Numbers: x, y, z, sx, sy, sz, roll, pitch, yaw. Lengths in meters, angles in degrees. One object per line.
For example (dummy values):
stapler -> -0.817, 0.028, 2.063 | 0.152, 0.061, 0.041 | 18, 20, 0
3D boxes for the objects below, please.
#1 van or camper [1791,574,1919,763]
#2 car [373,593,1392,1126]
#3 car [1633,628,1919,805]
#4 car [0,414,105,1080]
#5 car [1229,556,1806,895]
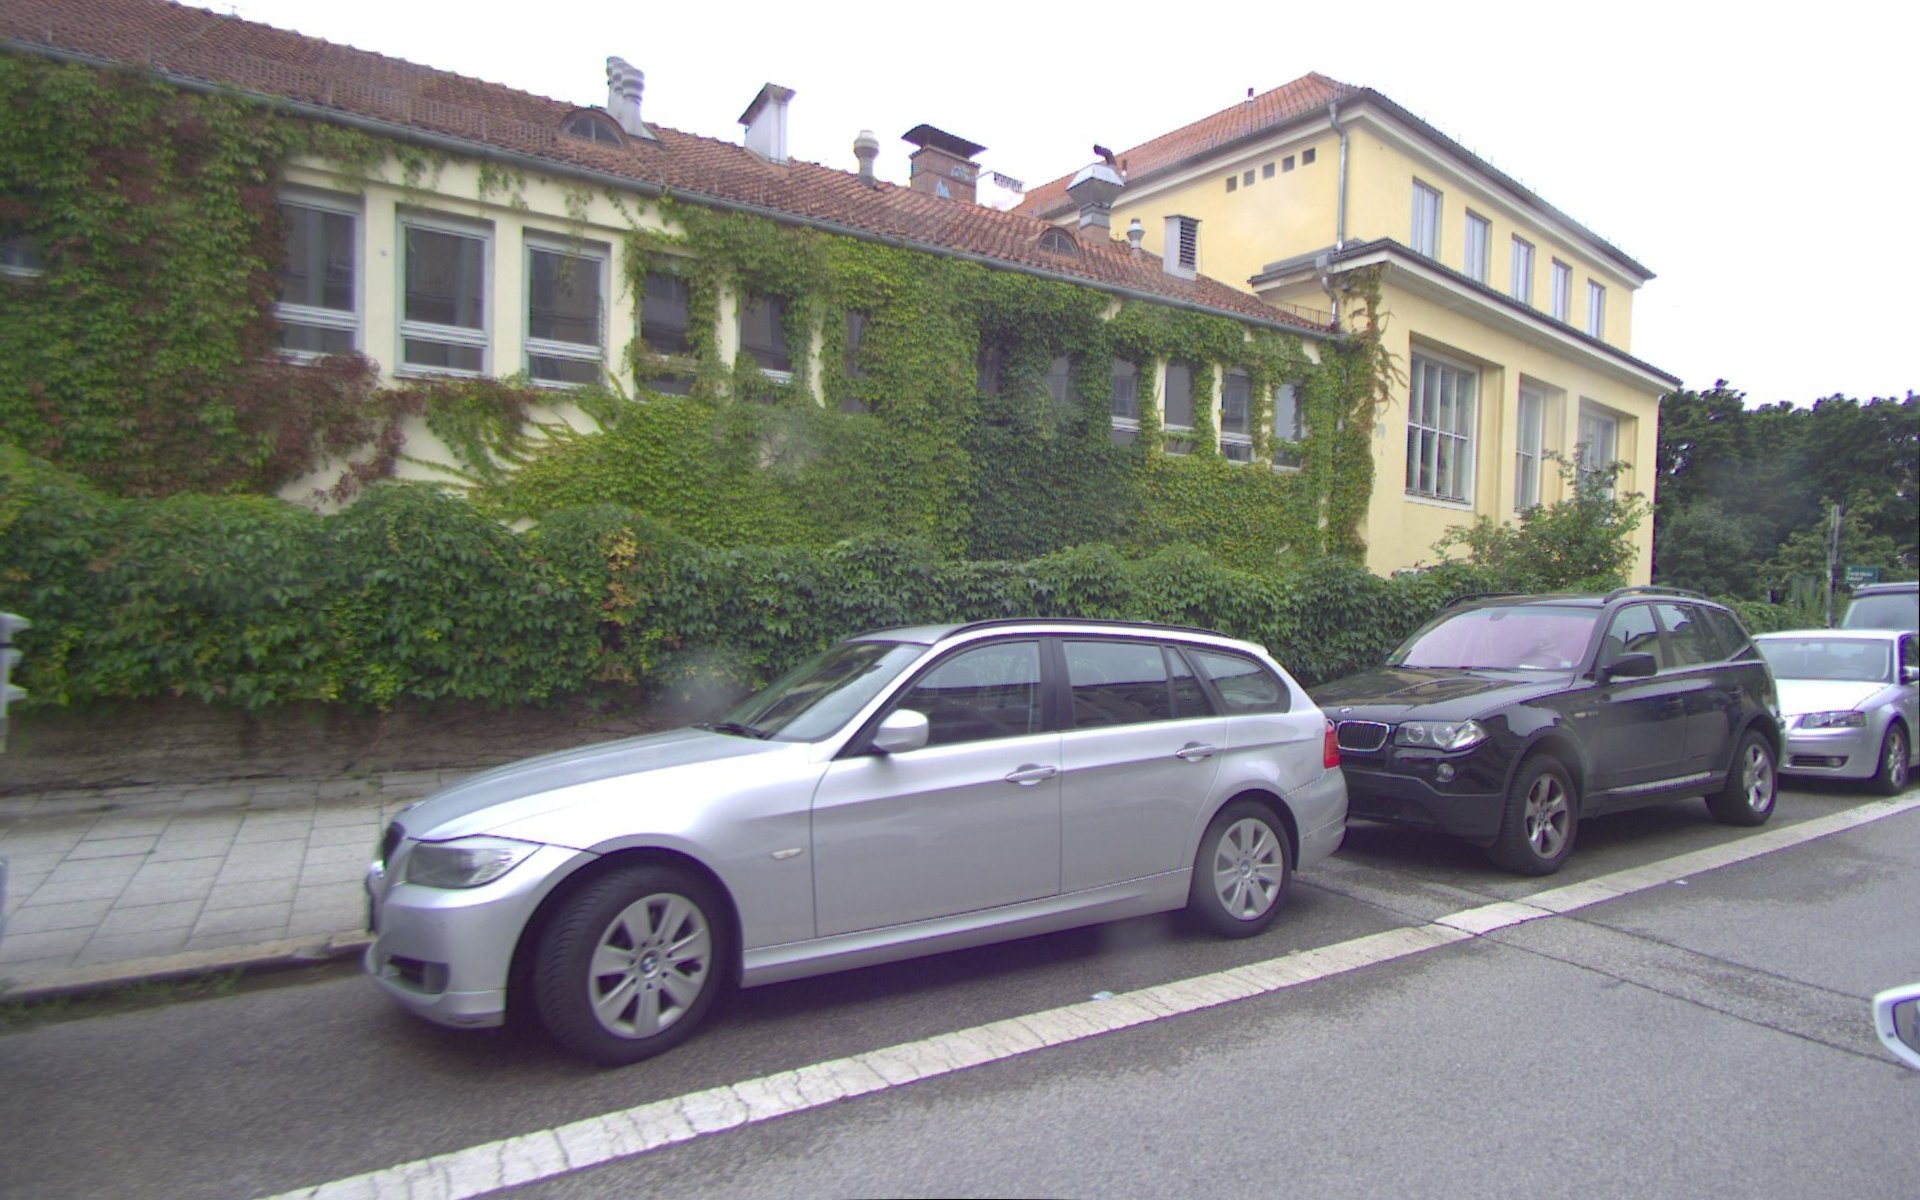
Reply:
van or camper -> 12.430, 0.803, 12.638 | 4.707, 2.093, 1.947 | 1, -1, -36
car -> -0.157, 0.798, 4.621 | 4.374, 1.441, 1.693 | 1, -4, -31
car -> 8.410, 0.976, 9.760 | 4.026, 1.396, 1.611 | 1, -1, -32
car -> -4.798, 0.385, 1.748 | 4.702, 1.900, 1.984 | 1, 0, -30
car -> 4.051, 0.725, 7.069 | 4.375, 1.752, 1.611 | 1, -3, -32
